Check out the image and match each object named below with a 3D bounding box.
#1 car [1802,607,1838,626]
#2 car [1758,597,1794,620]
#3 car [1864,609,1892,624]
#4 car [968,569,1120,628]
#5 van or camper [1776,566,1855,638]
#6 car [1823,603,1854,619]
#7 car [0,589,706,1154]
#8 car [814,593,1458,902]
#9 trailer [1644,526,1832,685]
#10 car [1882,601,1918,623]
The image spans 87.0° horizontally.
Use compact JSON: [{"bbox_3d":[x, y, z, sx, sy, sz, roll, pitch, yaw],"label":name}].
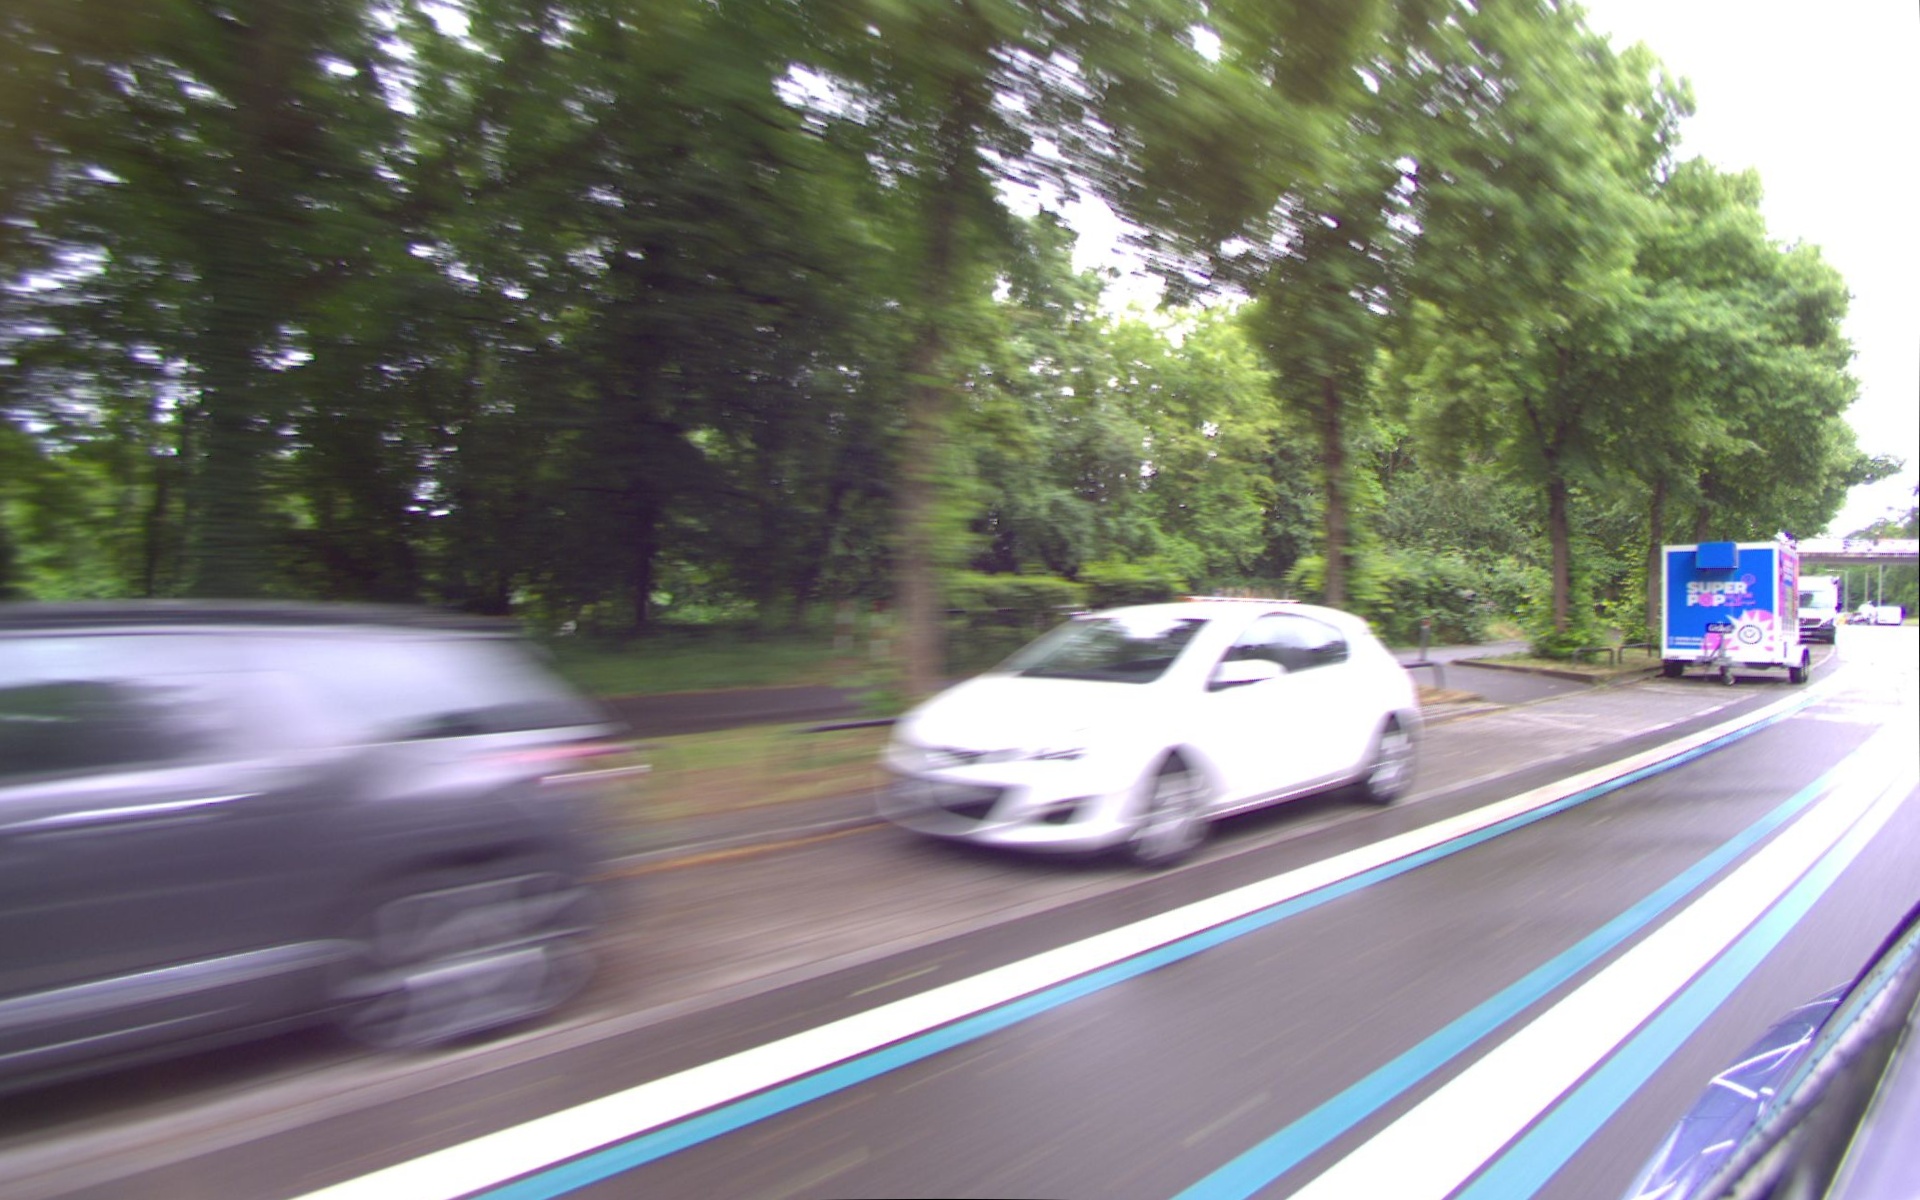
[{"bbox_3d":[69.505,1.360,81.859,1.817,1.481,3.833,0,-2,34],"label":"car"},{"bbox_3d":[55.970,0.556,69.479,1.656,1.554,3.694,0,0,35],"label":"car"},{"bbox_3d":[98.276,1.789,108.399,1.603,1.464,3.987,3,0,34],"label":"car"},{"bbox_3d":[2.155,-0.097,26.987,1.854,1.338,4.153,0,3,-33],"label":"car"},{"bbox_3d":[34.749,0.067,41.036,2.315,2.698,6.285,0,0,42],"label":"van or camper"},{"bbox_3d":[87.823,1.085,101.210,1.753,1.455,4.102,1,0,33],"label":"car"},{"bbox_3d":[-3.131,0.700,3.149,4.238,1.446,1.688,0,0,-37],"label":"car"},{"bbox_3d":[1.446,0.686,6.935,4.567,1.446,1.863,0,0,-40],"label":"car"},{"bbox_3d":[15.432,0.082,19.949,2.317,2.706,5.289,0,0,45],"label":"trailer"},{"bbox_3d":[90.350,1.168,97.308,1.974,1.939,5.156,2,-1,37],"label":"car"}]
